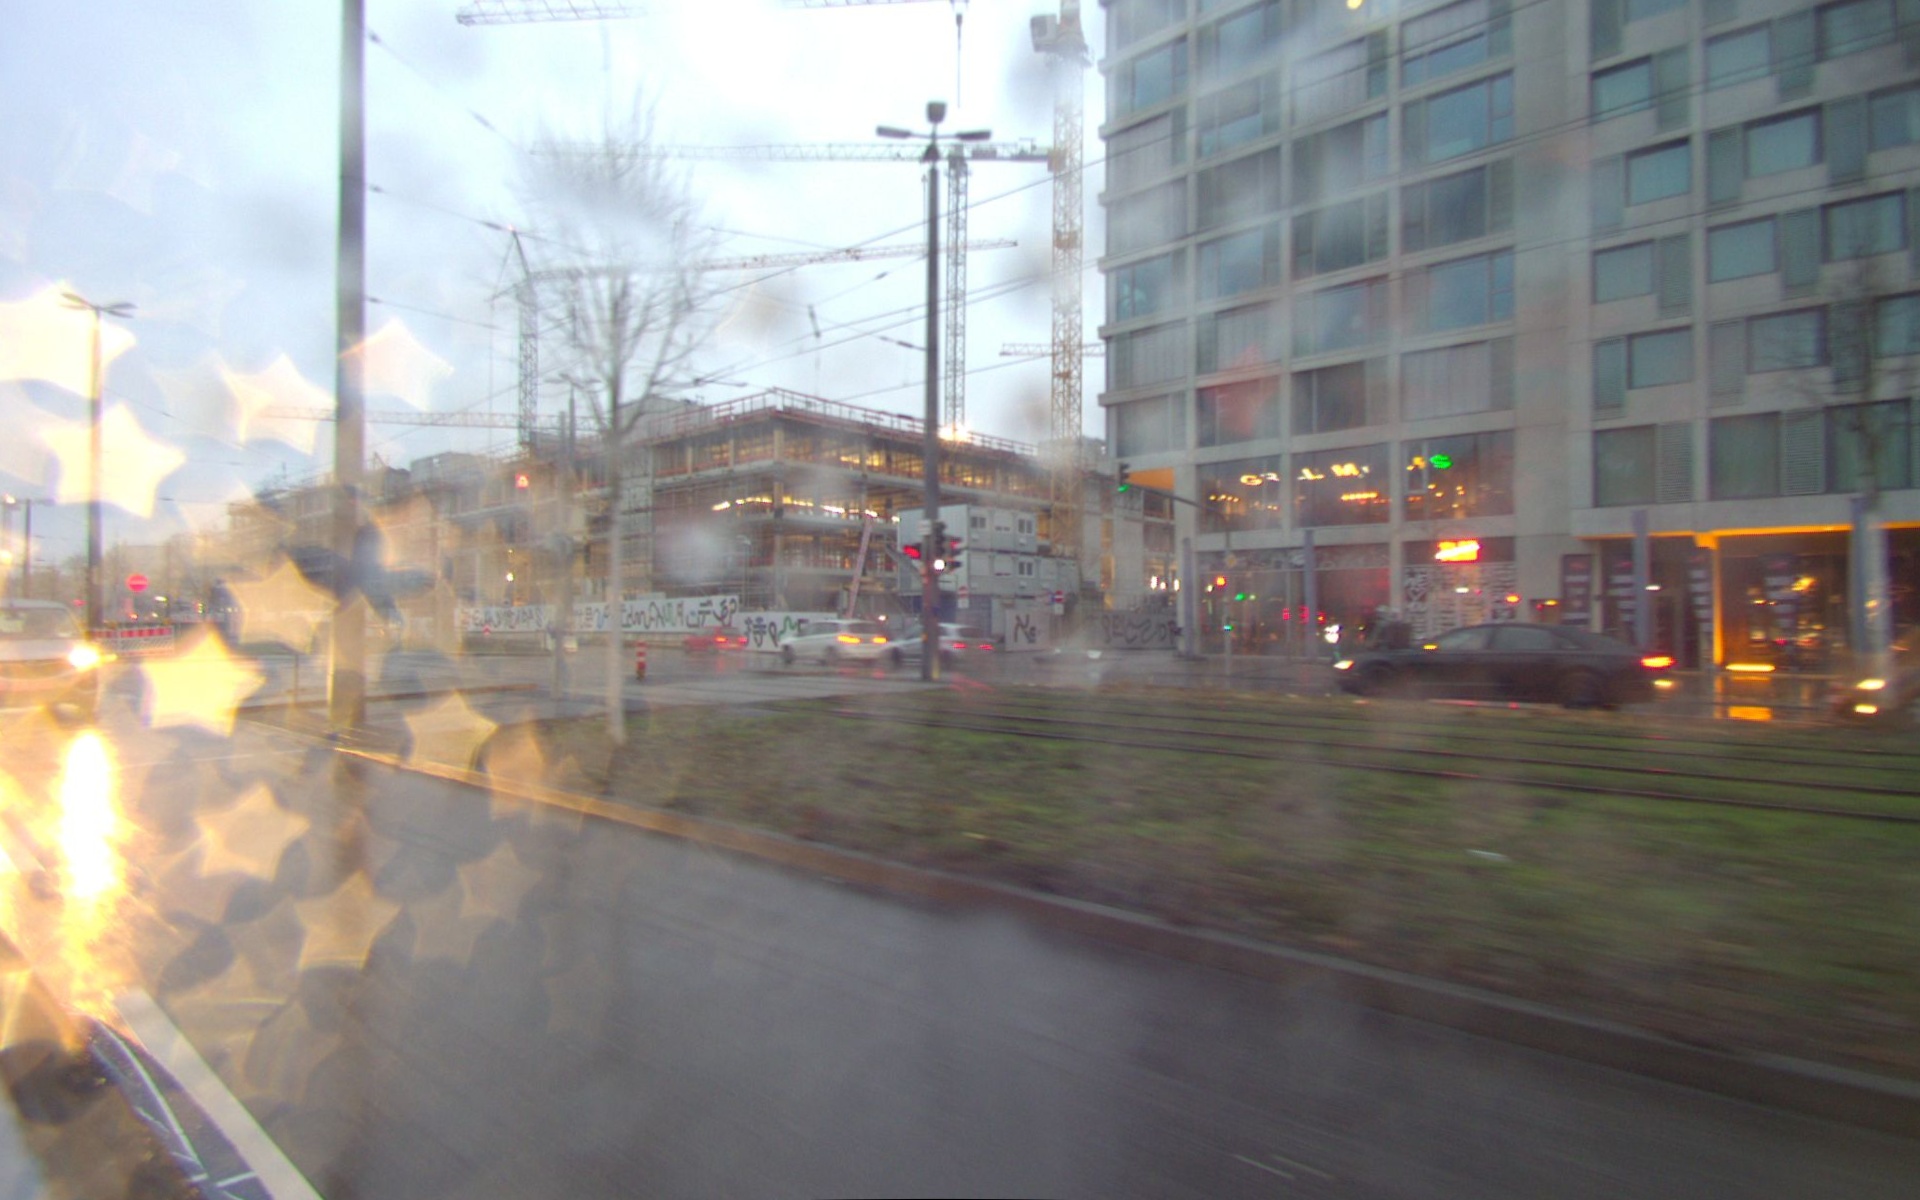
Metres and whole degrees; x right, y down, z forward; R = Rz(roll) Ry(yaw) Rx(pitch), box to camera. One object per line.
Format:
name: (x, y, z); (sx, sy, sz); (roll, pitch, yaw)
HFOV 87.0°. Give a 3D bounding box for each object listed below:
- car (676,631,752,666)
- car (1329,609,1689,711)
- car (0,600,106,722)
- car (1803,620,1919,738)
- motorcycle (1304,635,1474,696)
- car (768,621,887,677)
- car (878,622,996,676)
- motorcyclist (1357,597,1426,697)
car: (-12.055, 2.332, 49.471); (1.859, 1.586, 4.004); (0, 0, -43)
car: (9.189, 0.920, 17.247); (5.093, 1.473, 1.973); (-1, 0, 41)
car: (-15.132, 0.906, 15.990); (3.996, 1.746, 1.835); (-1, 0, 40)
car: (14.400, 1.003, 13.047); (5.069, 1.473, 1.982); (-1, 0, 27)
motorcycle: (8.449, 1.256, 20.058); (2.965, 1.064, 0.862); (-1, 0, 41)
car: (-4.756, 1.669, 35.891); (1.859, 1.803, 4.603); (0, 0, -43)
car: (-0.876, 1.740, 36.807); (4.176, 1.803, 1.861); (-1, 0, 43)
motorcyclist: (8.521, 0.904, 19.987); (1.033, 1.900, 0.862); (-1, -1, 41)
